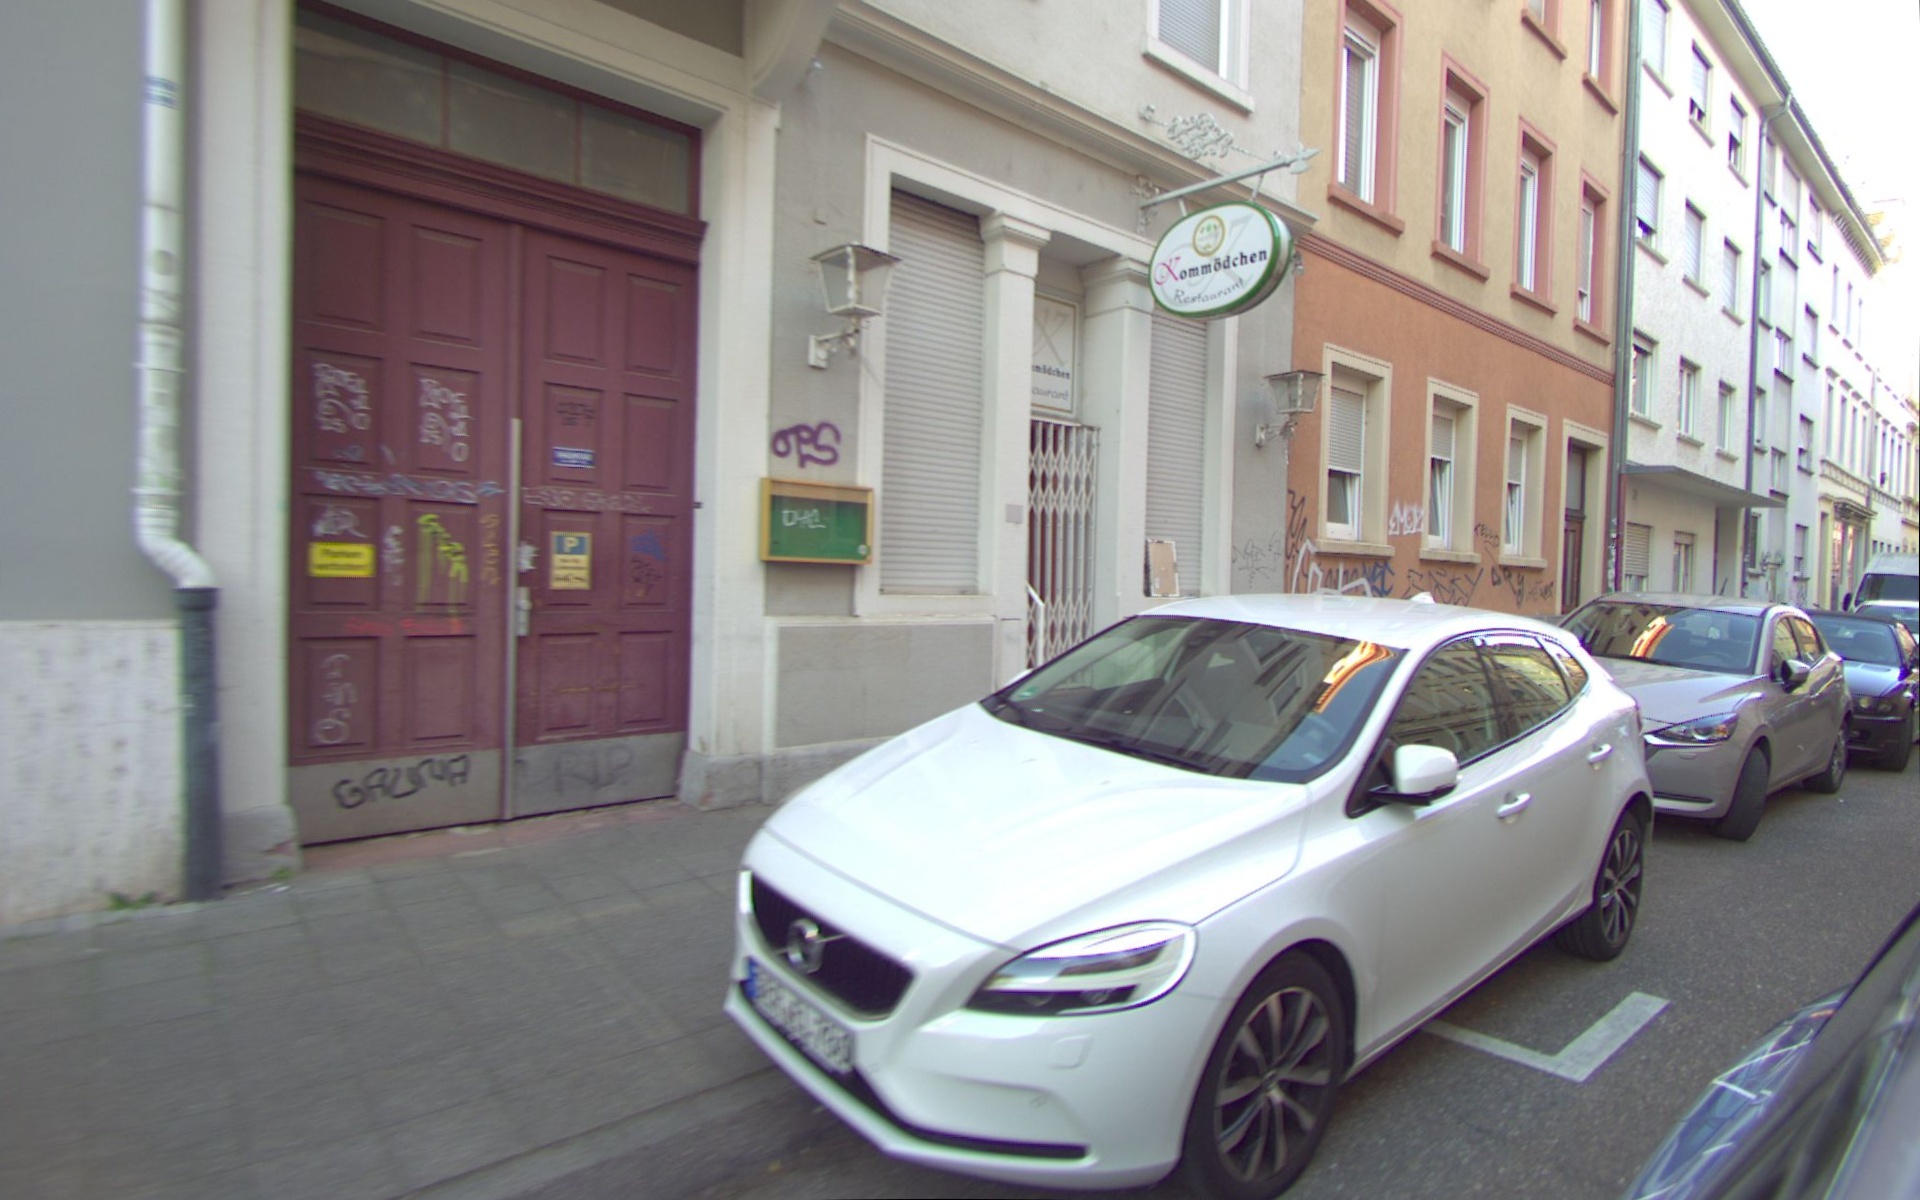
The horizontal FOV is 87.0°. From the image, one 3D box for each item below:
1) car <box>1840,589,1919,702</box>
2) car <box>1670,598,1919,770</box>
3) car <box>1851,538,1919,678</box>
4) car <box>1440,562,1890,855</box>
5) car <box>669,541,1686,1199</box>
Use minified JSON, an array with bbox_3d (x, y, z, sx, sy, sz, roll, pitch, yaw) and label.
[{"bbox_3d":[14.828,0.641,15.519,3.796,1.578,1.680,0,0,-44],"label":"car"},{"bbox_3d":[9.039,0.696,10.518,4.417,1.412,1.770,0,0,-42],"label":"car"},{"bbox_3d":[19.785,0.146,20.202,5.914,2.544,2.050,0,0,-39],"label":"car"},{"bbox_3d":[5.407,0.593,7.560,4.114,1.617,1.683,0,0,-39],"label":"car"},{"bbox_3d":[1.198,0.650,3.833,4.118,1.529,1.681,0,0,-42],"label":"car"}]
